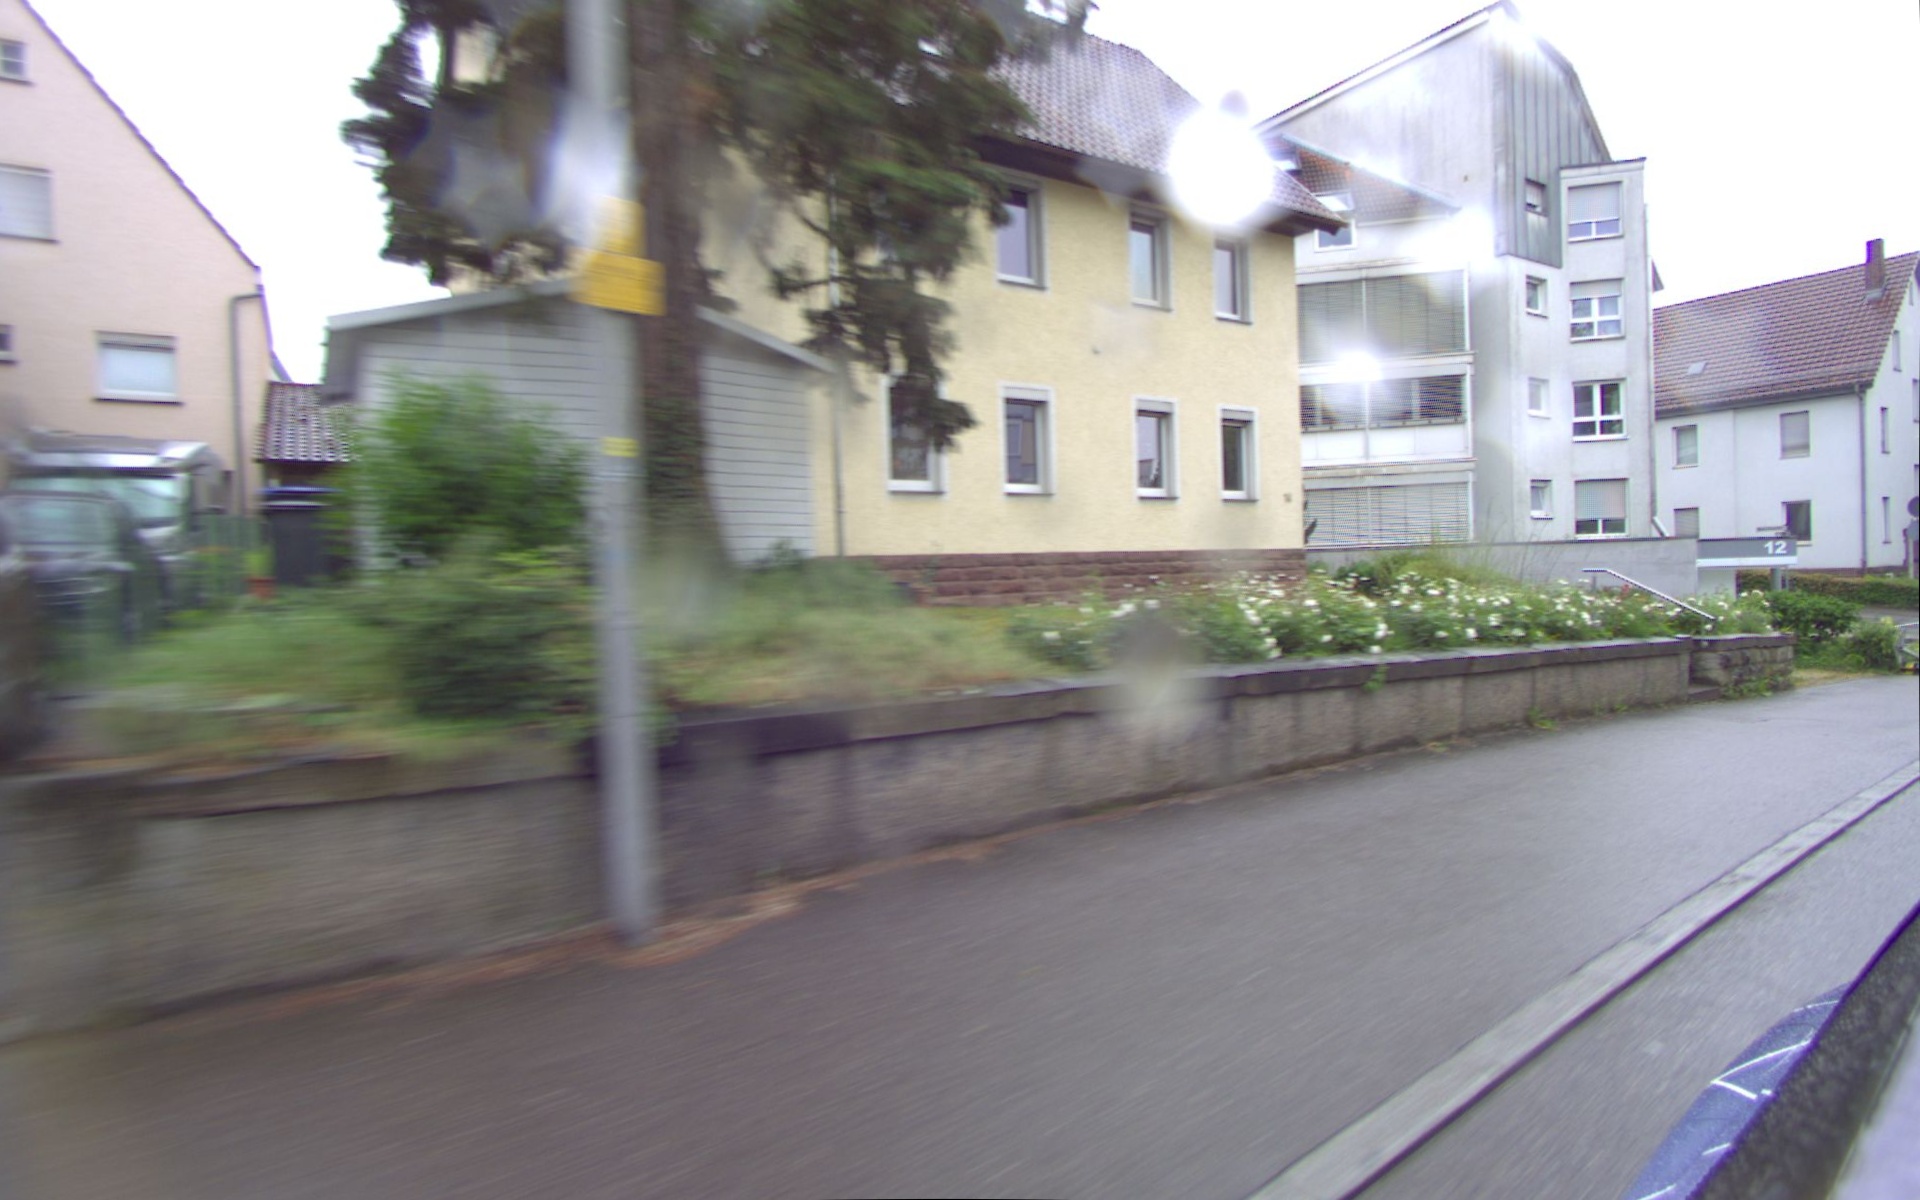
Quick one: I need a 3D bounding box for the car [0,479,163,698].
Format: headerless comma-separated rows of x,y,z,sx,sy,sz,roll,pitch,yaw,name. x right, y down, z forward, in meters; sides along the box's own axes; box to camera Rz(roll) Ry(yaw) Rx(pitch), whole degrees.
-8.602,-0.194,9.171,1.926,1.673,3.867,0,3,-35,car

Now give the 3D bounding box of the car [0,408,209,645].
-12.313,-1.026,14.674,2.258,2.726,6.277,0,3,-37,car

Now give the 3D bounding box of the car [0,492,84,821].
-5.628,0.297,4.519,1.925,1.674,4.334,0,1,-32,car
